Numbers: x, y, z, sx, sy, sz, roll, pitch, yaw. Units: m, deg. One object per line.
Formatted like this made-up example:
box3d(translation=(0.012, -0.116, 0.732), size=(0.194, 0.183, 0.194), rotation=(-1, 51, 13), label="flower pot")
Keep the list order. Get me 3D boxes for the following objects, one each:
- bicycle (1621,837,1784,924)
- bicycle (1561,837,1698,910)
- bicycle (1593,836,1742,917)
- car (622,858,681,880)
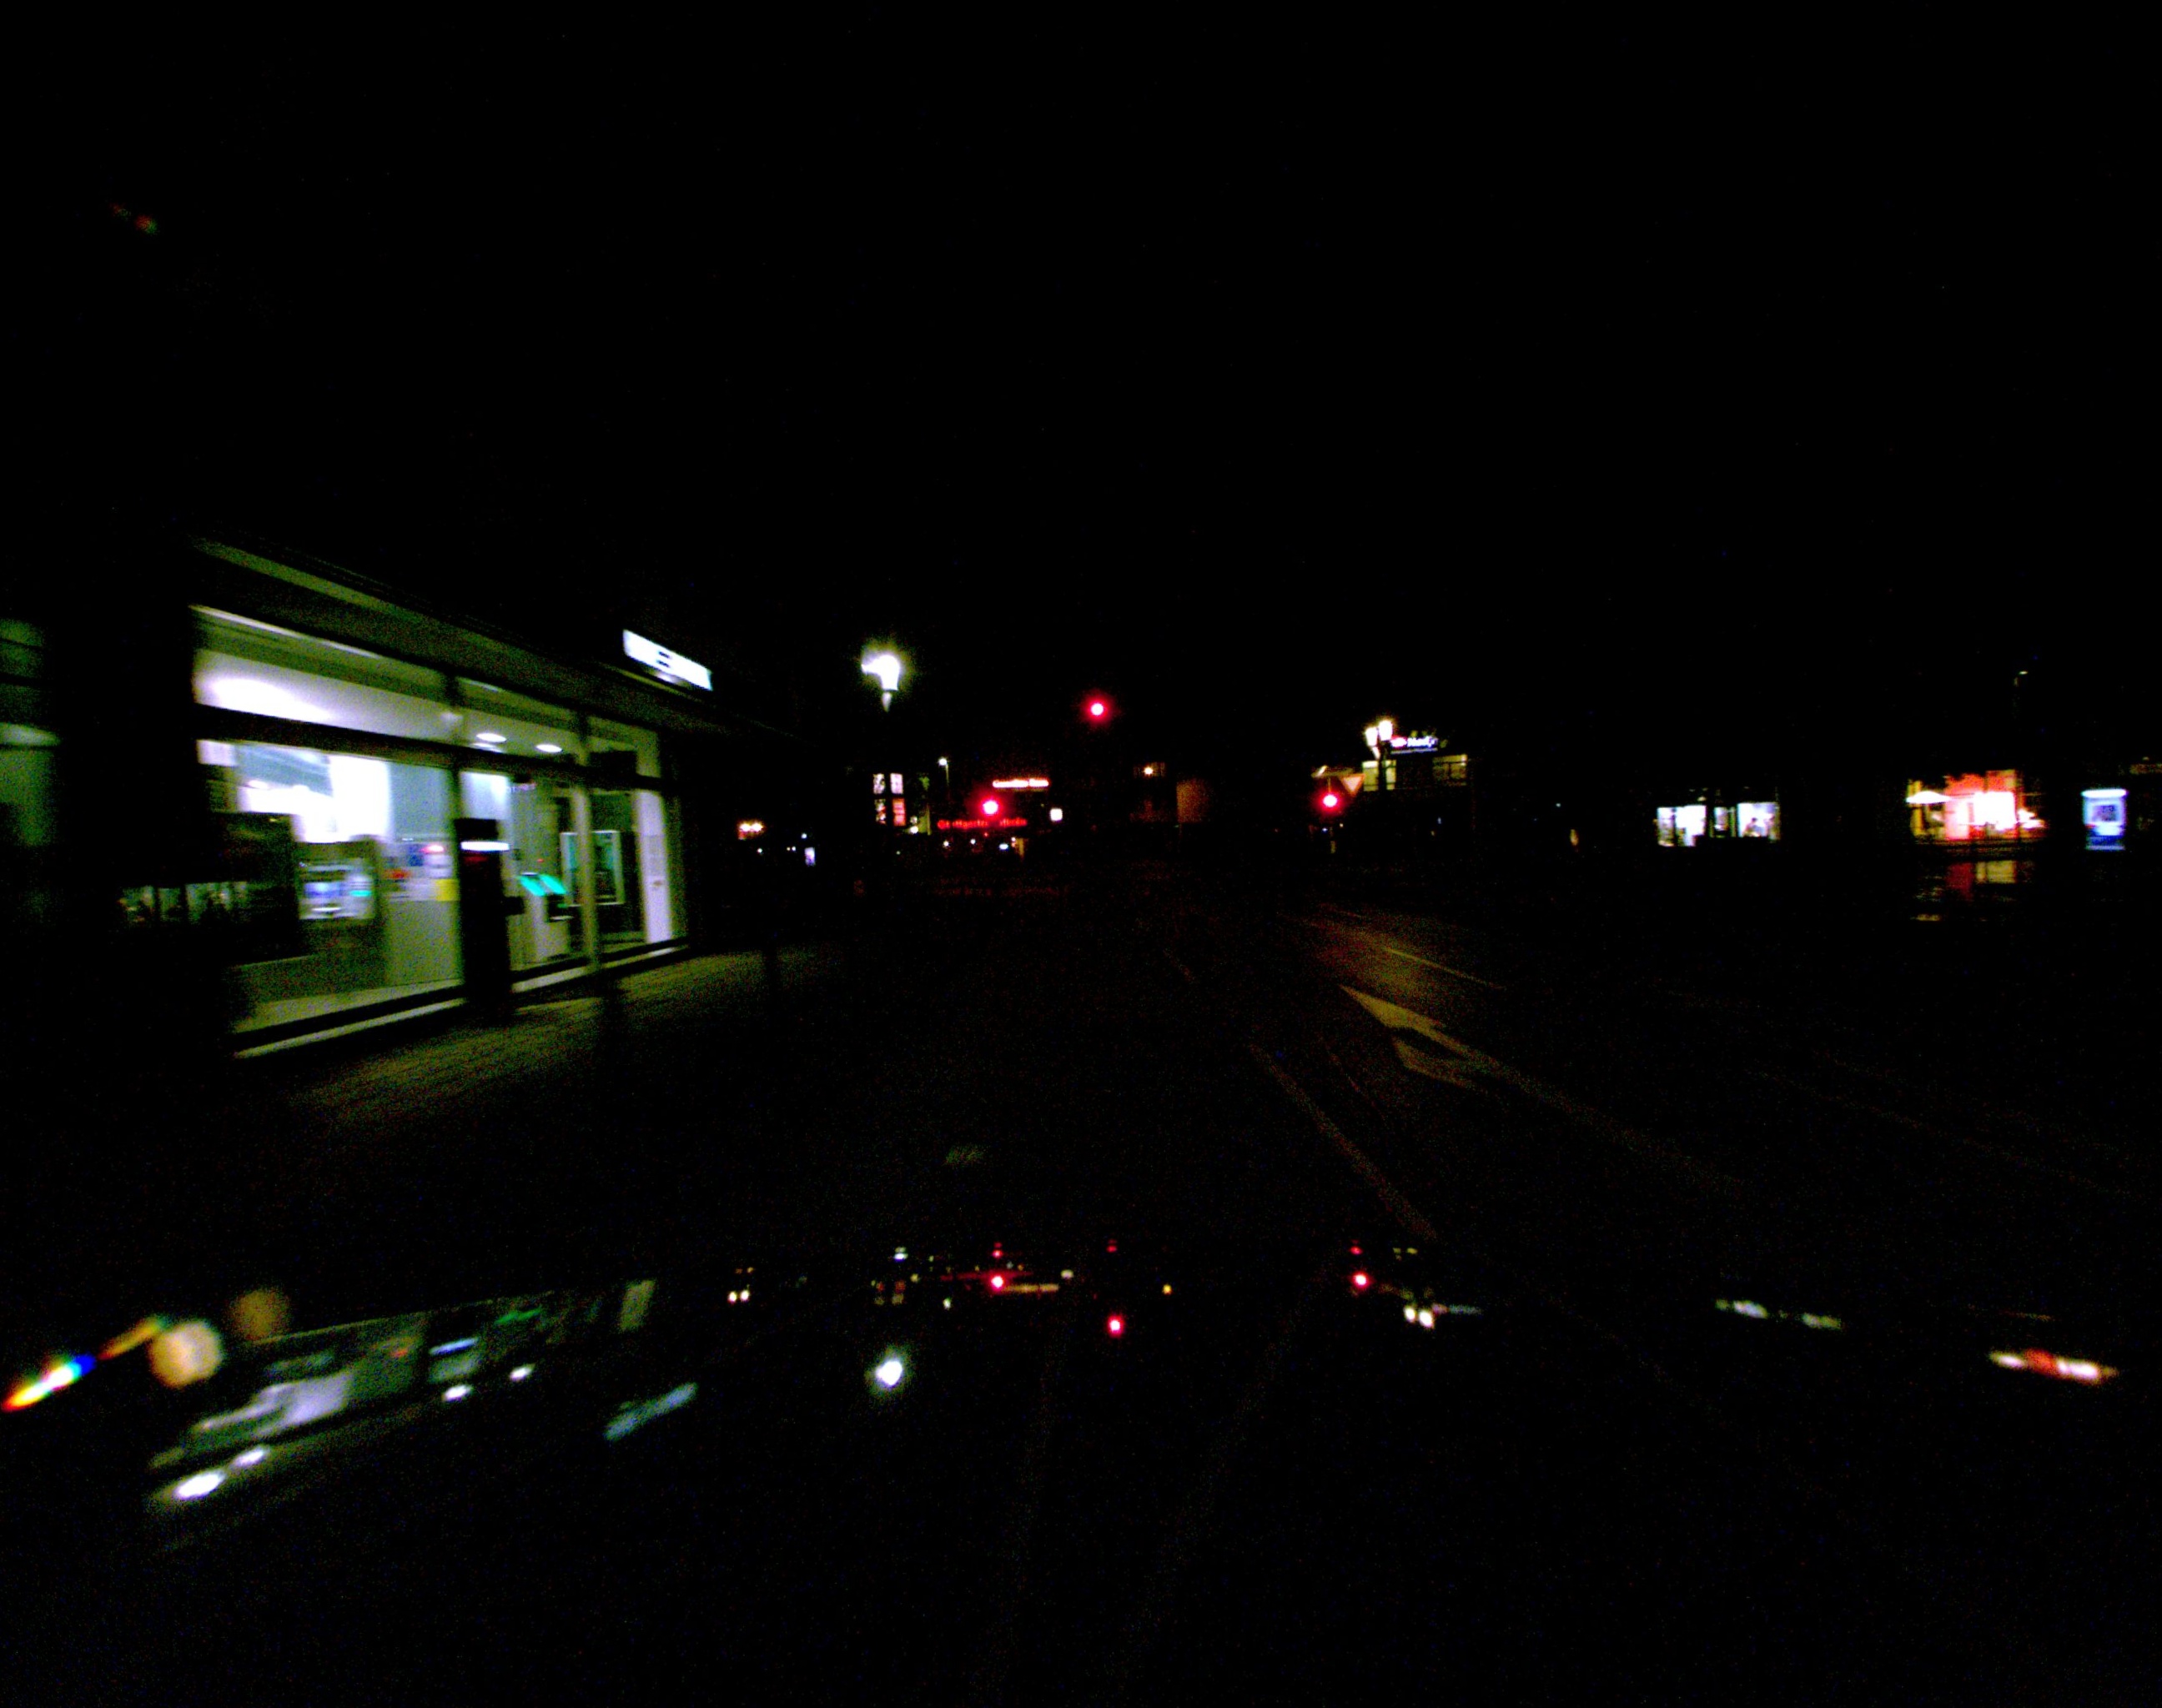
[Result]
box3d(translation=(9.501, 0.388, 11.682), size=(1.738, 1.160, 0.787), rotation=(-5, 1, 6), label="bicycle")
box3d(translation=(10.011, 0.336, 13.926), size=(1.837, 1.151, 0.787), rotation=(-5, 2, 6), label="bicycle")
box3d(translation=(9.616, 0.358, 12.515), size=(1.738, 1.151, 0.787), rotation=(-5, 2, 6), label="bicycle")
box3d(translation=(-34.625, 1.176, 61.318), size=(3.856, 1.644, 1.877), rotation=(-2, 0, 15), label="car")
